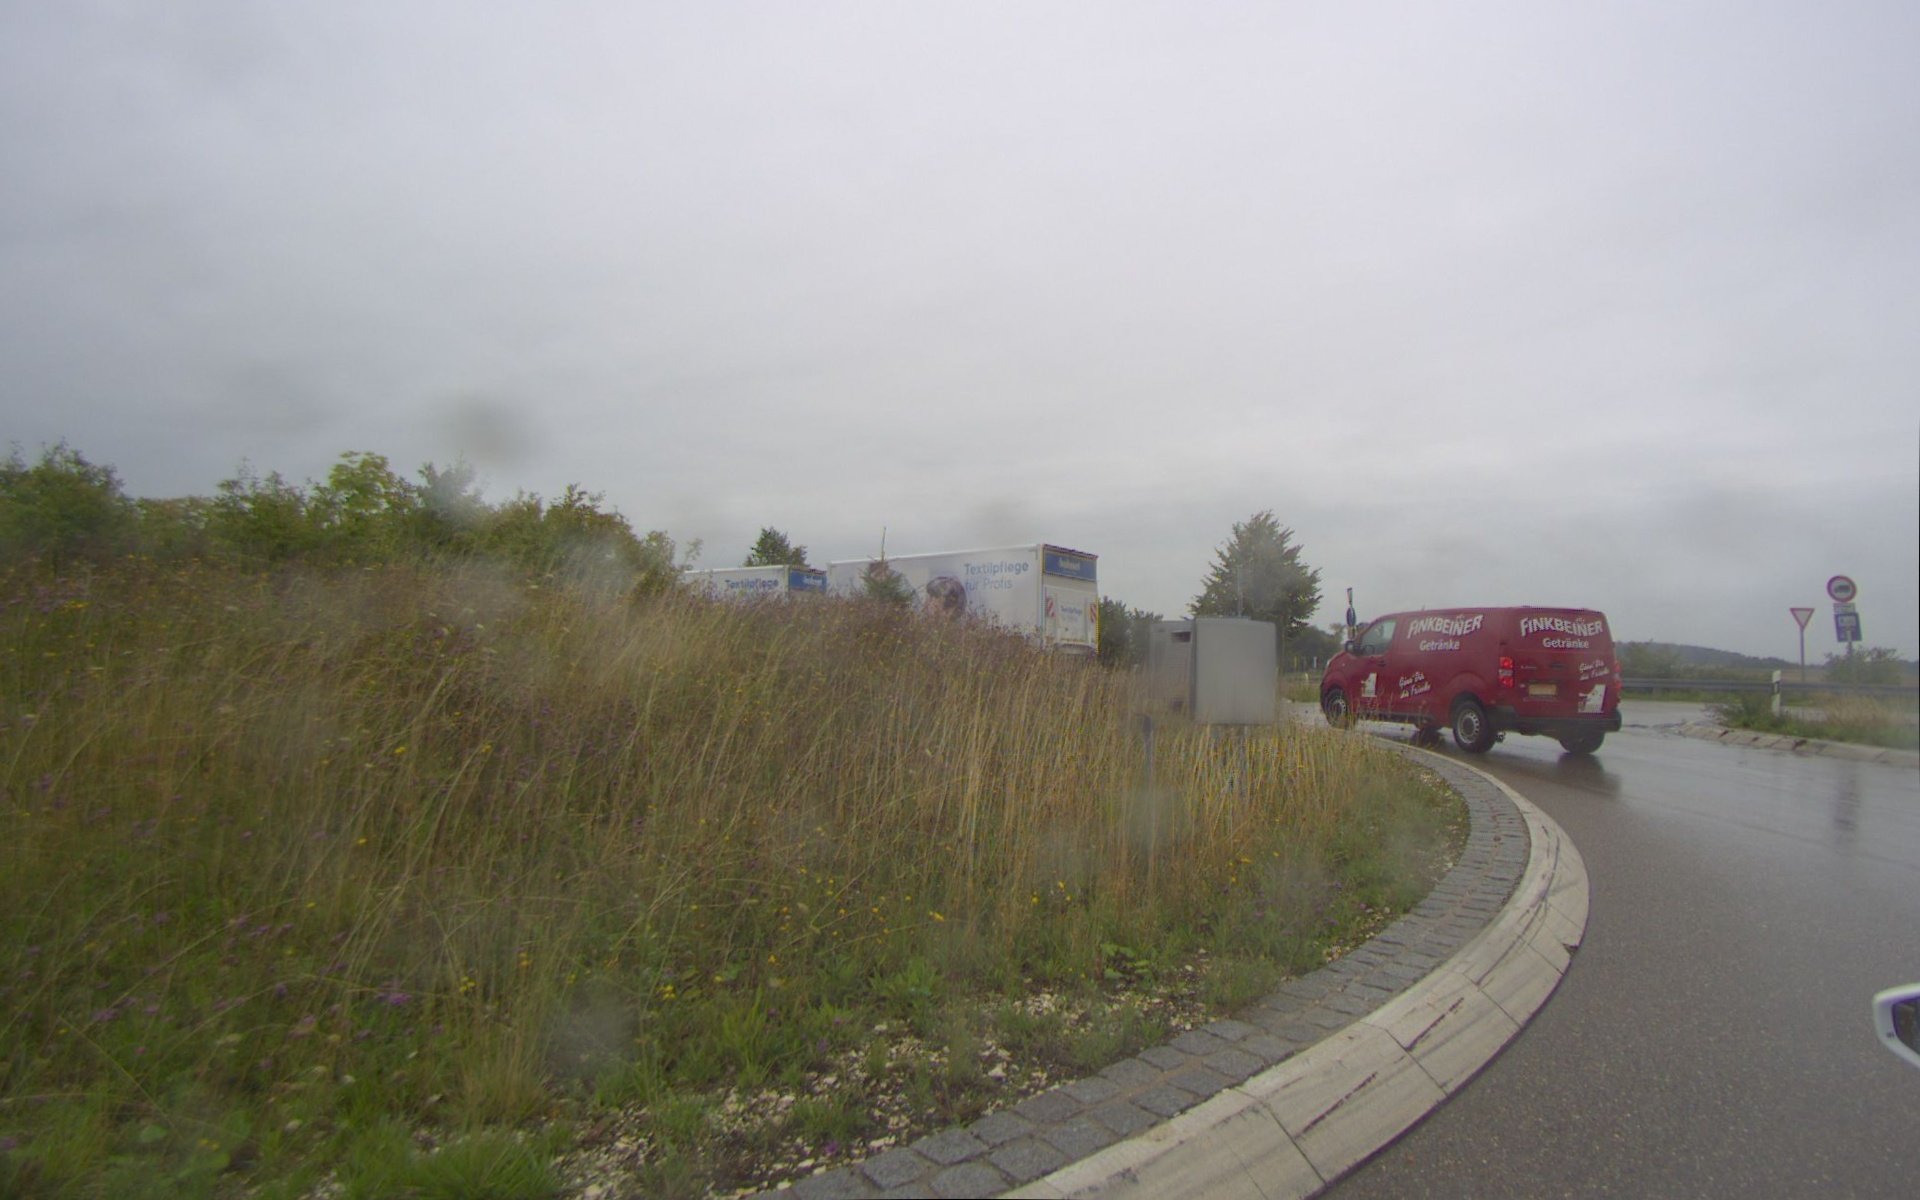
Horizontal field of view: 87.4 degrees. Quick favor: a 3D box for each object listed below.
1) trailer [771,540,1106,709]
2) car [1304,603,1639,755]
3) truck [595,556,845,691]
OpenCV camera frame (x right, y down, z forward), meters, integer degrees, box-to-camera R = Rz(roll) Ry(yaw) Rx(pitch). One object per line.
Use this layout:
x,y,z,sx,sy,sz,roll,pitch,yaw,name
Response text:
-0.902,0.702,27.171,9.568,3.869,2.828,-1,-3,40,trailer
7.312,1.060,15.108,1.964,1.895,4.972,1,-2,-9,car
-7.599,0.759,31.613,7.546,3.869,2.806,-1,-2,26,truck
